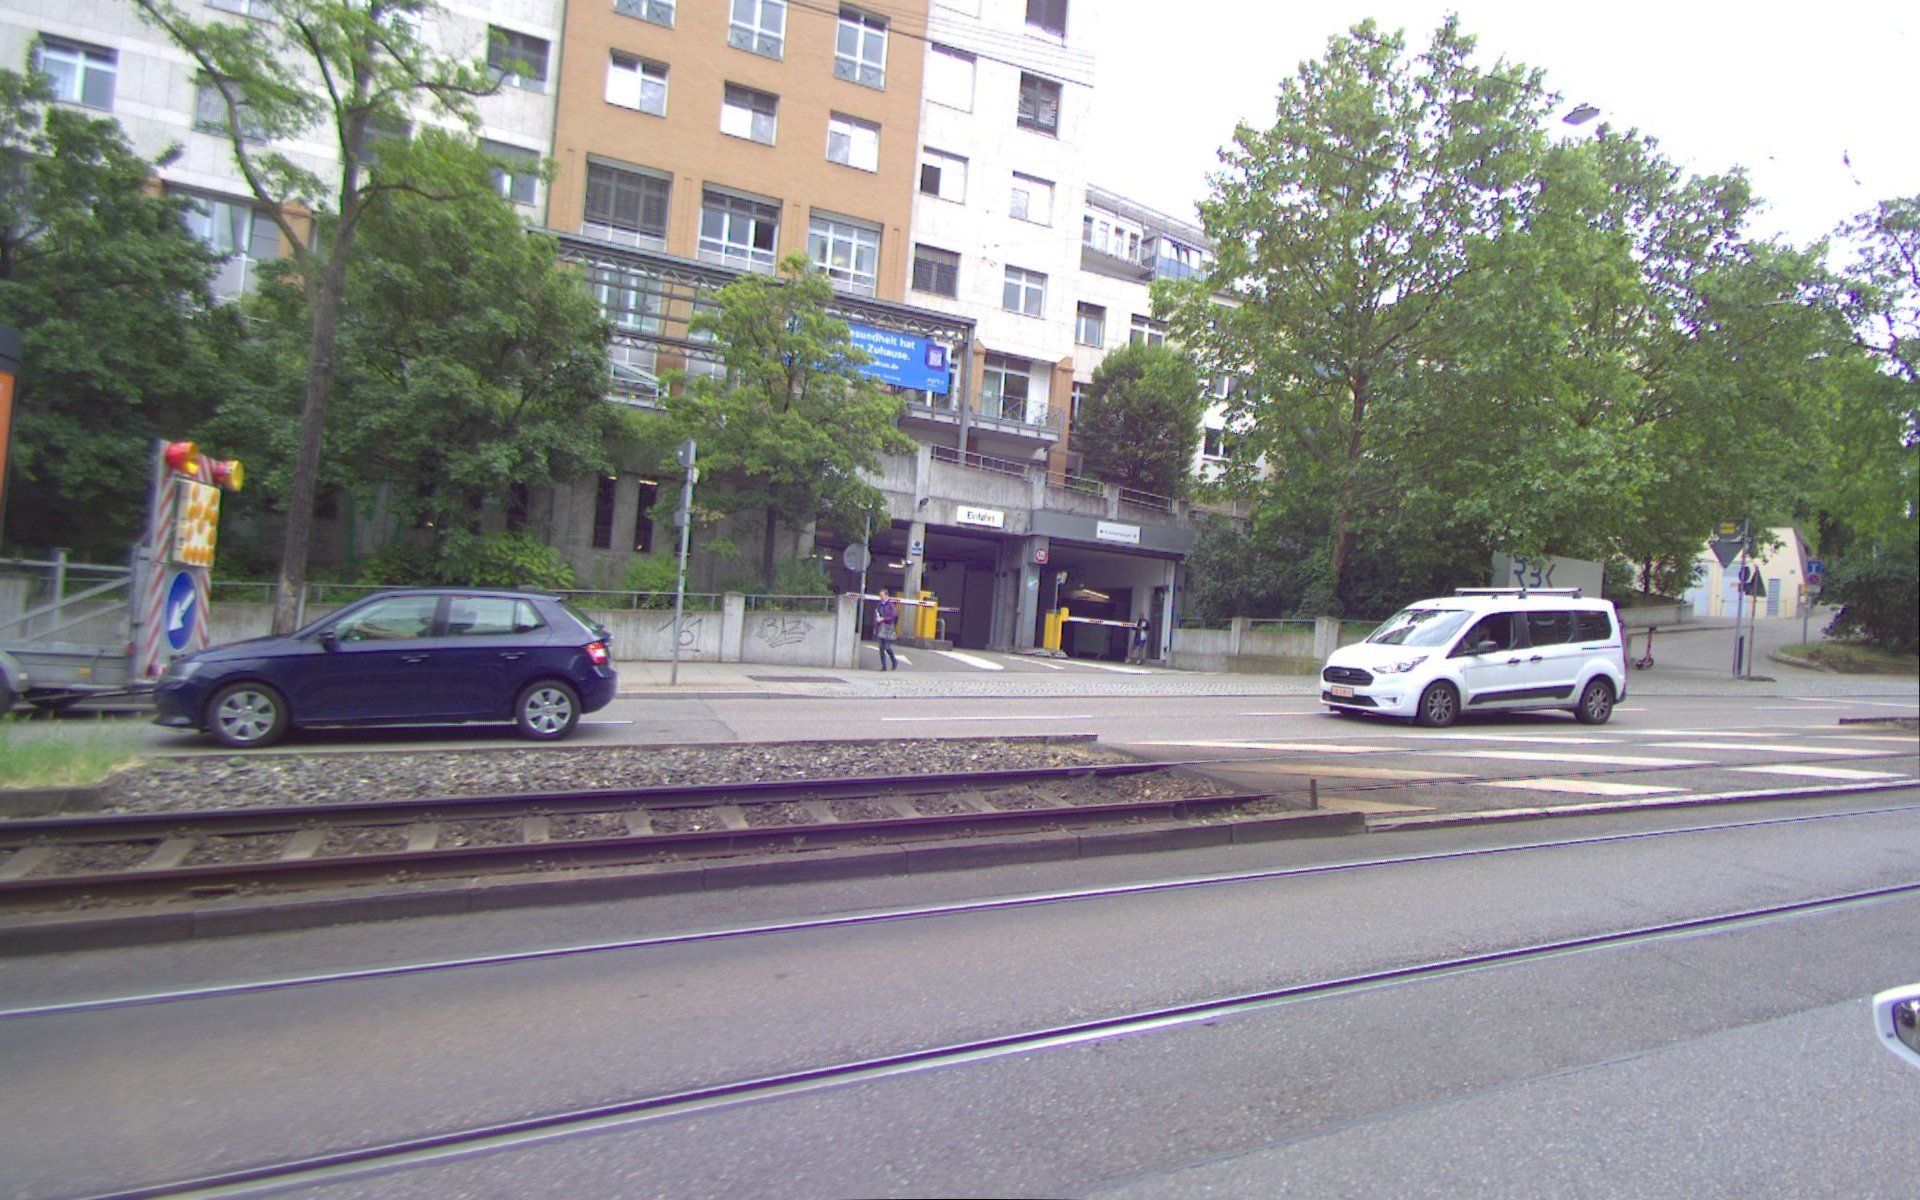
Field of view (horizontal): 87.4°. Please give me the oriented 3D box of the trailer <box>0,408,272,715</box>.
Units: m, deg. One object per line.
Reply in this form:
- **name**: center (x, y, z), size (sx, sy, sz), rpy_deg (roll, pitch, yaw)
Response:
- **trailer**: center (-10.773, -0.432, 10.471), size (5.503, 3.013, 2.017), rpy_deg (2, 1, -19)

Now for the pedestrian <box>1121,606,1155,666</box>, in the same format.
- **pedestrian**: center (5.783, 1.162, 32.638), size (0.781, 1.936, 0.811), rpy_deg (1, -1, -20)

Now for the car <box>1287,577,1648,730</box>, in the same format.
- **car**: center (7.466, 0.741, 14.772), size (4.928, 1.972, 1.944), rpy_deg (1, 0, -21)

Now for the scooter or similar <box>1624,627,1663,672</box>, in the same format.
- **scooter or similar**: center (19.828, 1.433, 29.131), size (1.629, 1.235, 0.485), rpy_deg (3, 1, -41)

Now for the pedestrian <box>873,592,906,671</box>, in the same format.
- **pedestrian**: center (-1.456, 0.649, 20.818), size (0.645, 1.581, 0.729), rpy_deg (1, -1, -4)

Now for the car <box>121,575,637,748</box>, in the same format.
- **car**: center (-5.382, 0.570, 9.894), size (4.025, 1.426, 1.762), rpy_deg (2, -1, -24)
